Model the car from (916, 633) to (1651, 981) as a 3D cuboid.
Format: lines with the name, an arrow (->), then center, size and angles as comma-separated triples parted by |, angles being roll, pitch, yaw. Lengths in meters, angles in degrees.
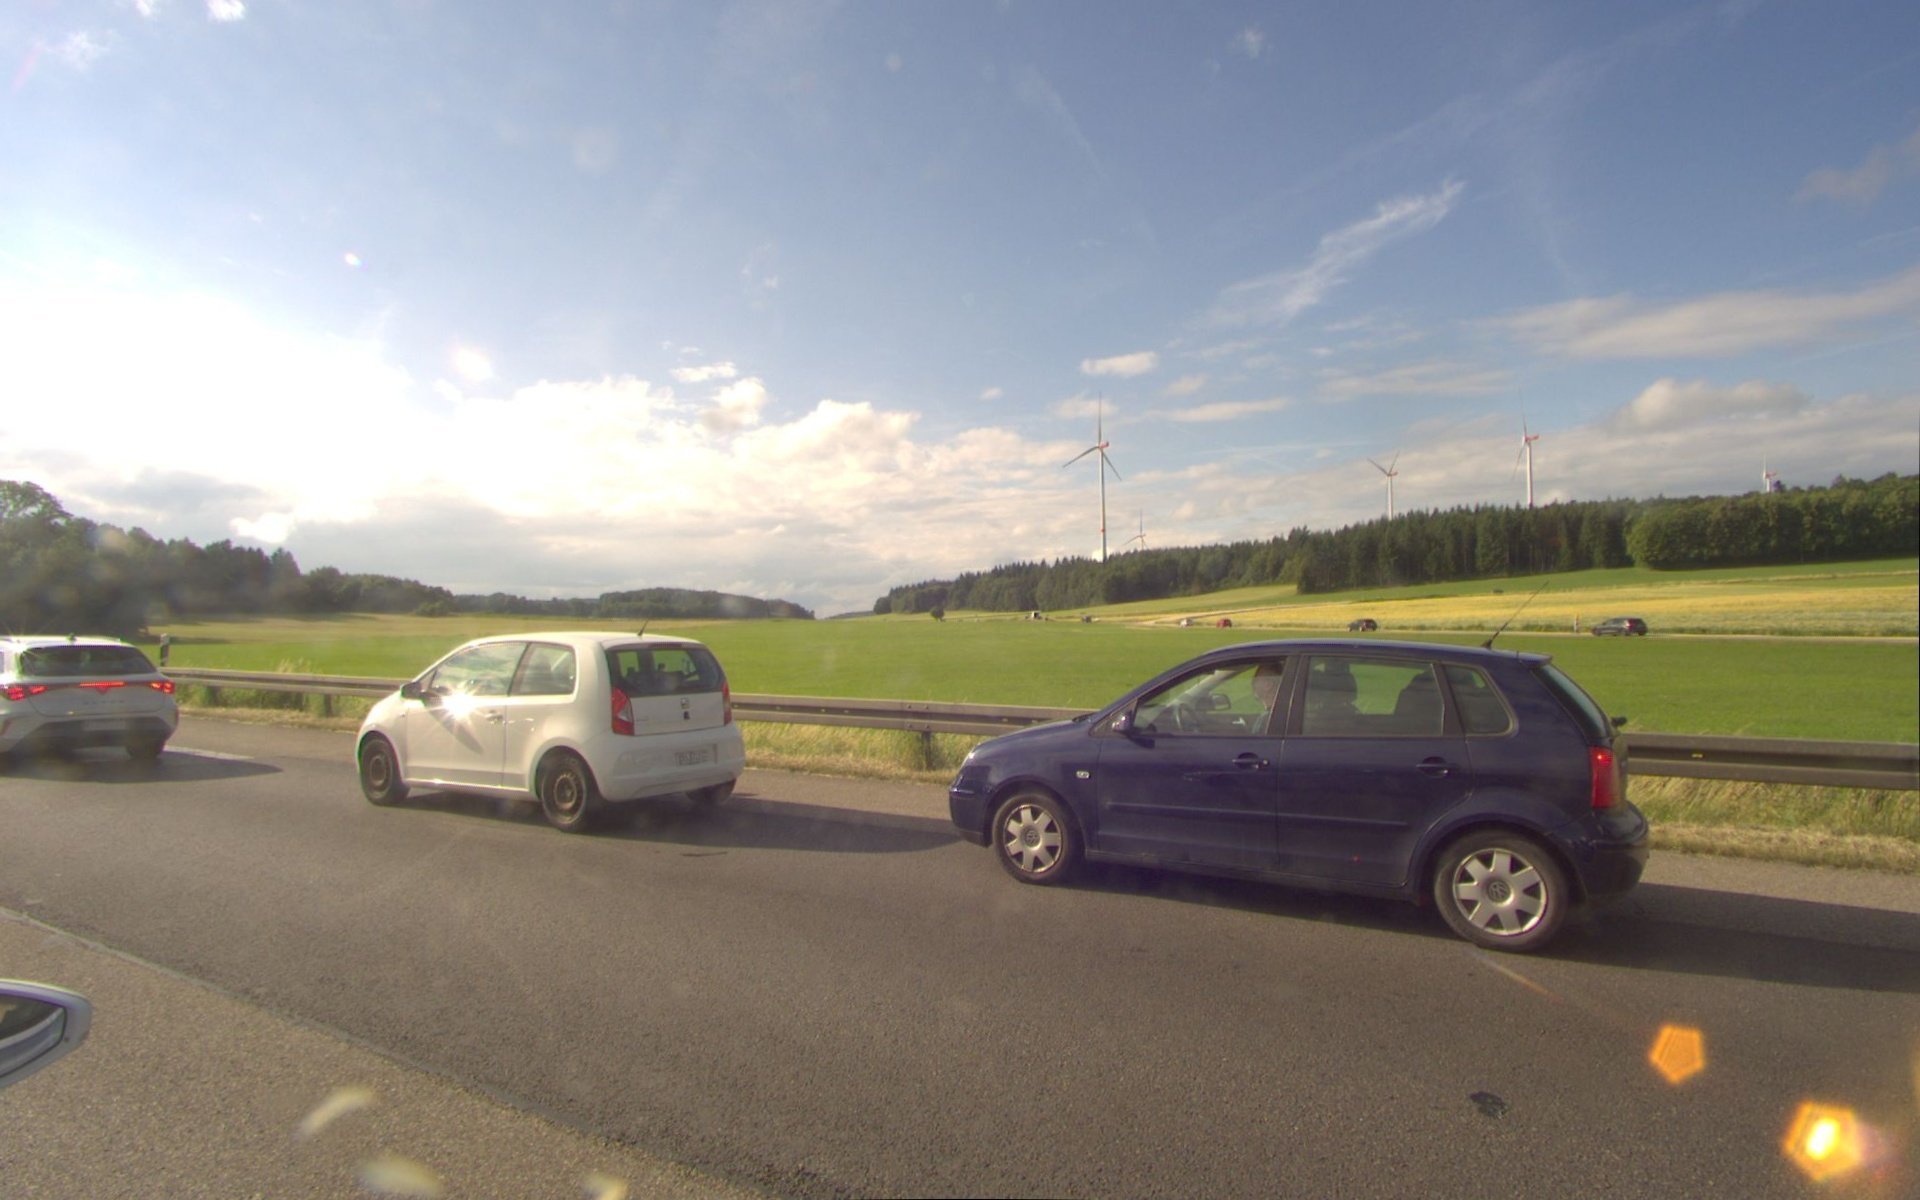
car -> 1.750, 0.938, 5.935 | 3.719, 1.464, 1.708 | -1, -2, 31

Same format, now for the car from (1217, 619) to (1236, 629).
car -> 44.565, 4.006, 167.548 | 1.803, 1.505, 4.221 | 0, -2, -6

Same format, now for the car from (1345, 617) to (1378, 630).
car -> 47.046, 2.784, 117.450 | 1.803, 1.505, 4.221 | 0, -2, -6

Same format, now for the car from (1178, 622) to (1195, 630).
car -> 43.192, 5.030, 191.220 | 1.803, 1.505, 4.288 | 0, -2, -6

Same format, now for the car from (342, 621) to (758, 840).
car -> -3.520, 0.952, 8.522 | 3.326, 1.514, 1.547 | 0, -1, 29

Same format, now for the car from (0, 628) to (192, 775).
car -> -10.924, 1.073, 11.703 | 4.084, 1.464, 1.619 | -1, -2, 29

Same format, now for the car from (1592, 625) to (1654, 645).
car -> 52.032, 2.764, 78.662 | 1.803, 1.505, 4.221 | 0, -2, -6
